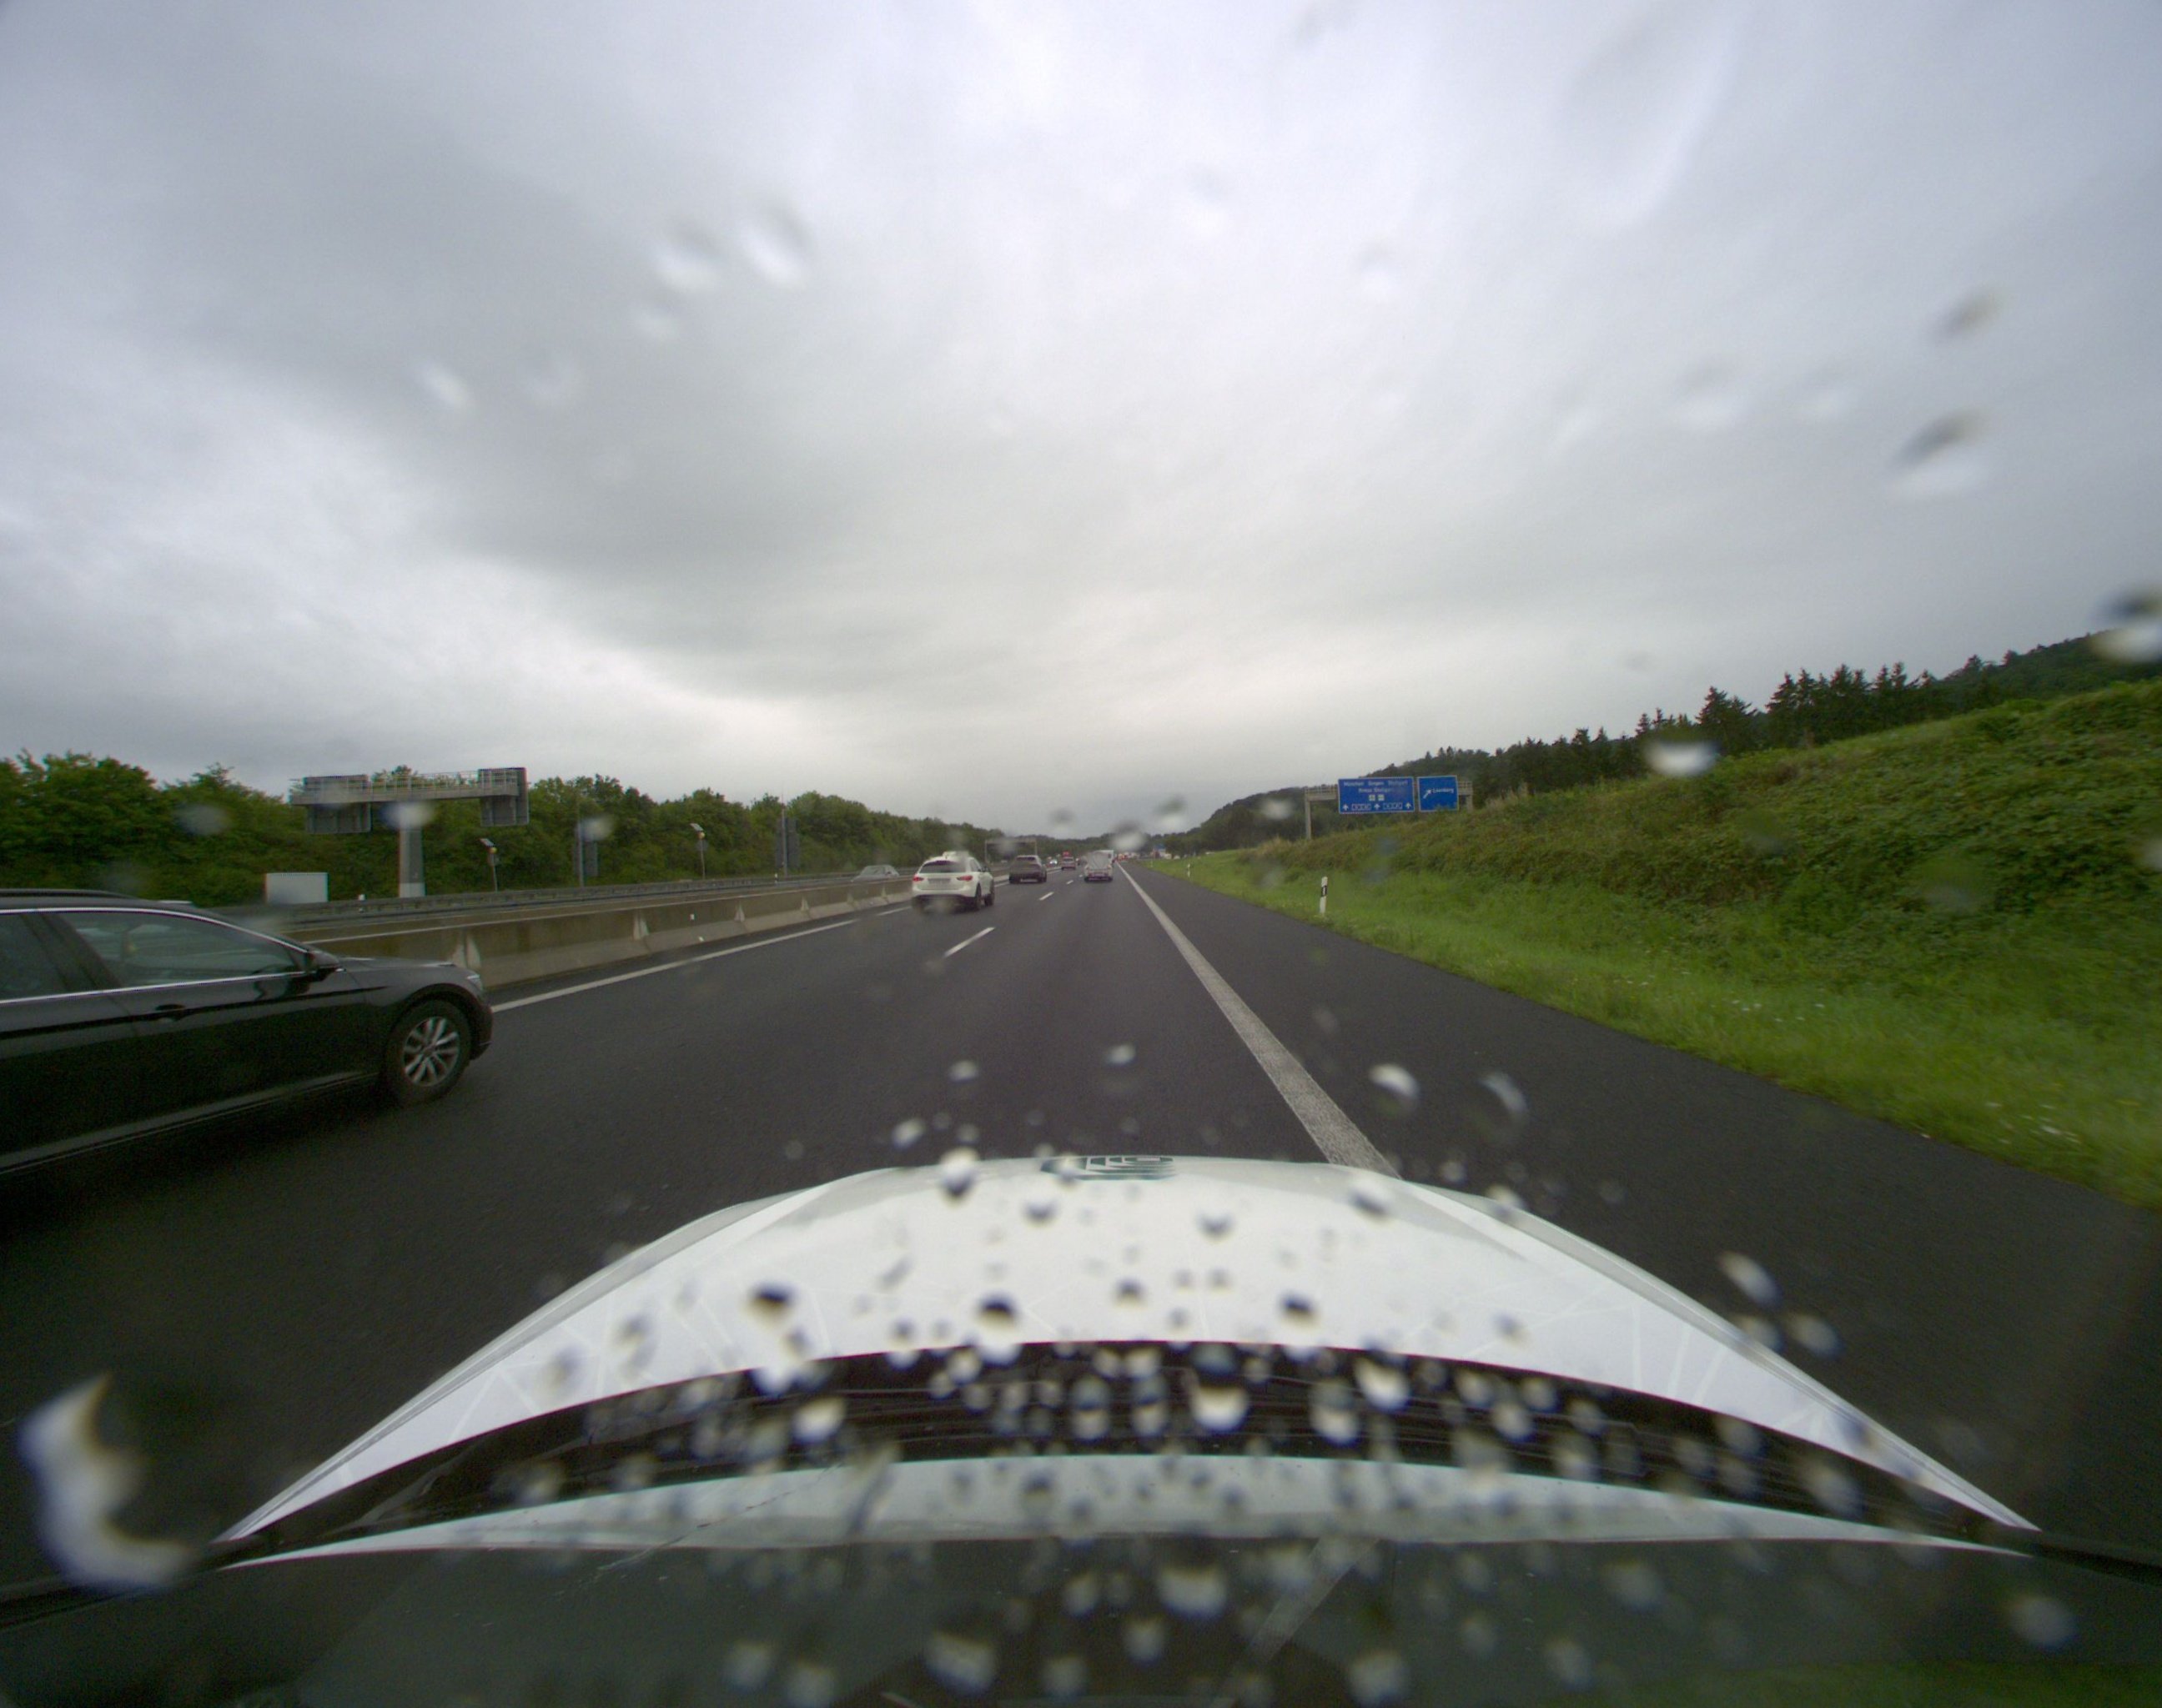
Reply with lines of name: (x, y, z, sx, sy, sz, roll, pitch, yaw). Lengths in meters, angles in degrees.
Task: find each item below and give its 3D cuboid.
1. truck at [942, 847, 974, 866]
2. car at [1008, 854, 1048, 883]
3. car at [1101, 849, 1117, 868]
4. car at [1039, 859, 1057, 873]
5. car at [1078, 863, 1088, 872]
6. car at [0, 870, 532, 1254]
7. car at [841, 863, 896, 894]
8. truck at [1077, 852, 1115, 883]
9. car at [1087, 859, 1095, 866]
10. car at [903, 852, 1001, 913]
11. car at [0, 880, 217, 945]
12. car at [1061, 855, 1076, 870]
truck: (-25.518, 0.527, 170.209, 3.164, 3.808, 17.147, -1, 0, 3)
car: (-3.255, 0.866, 50.855, 1.968, 1.703, 4.804, -1, 0, 2)
car: (4.122, 0.698, 121.228, 2.323, 2.725, 6.541, -1, -1, 1)
car: (-3.983, 1.456, 98.447, 1.812, 1.662, 4.019, -2, 0, 2)
car: (0.340, 2.545, 153.043, 1.639, 1.574, 4.002, 0, -1, 2)
car: (-5.104, 0.849, 3.750, 1.781, 1.459, 4.804, -1, 0, 2)
car: (-11.604, 1.323, 44.712, 1.791, 1.508, 4.002, -2, 0, 2)
truck: (0.962, 0.816, 52.123, 2.234, 1.839, 6.586, -1, 0, 1)
car: (2.435, 1.948, 193.594, 1.639, 1.574, 4.002, 0, -1, 2)
car: (-3.854, 0.811, 25.132, 2.040, 1.670, 4.544, -1, 0, 3)
car: (-31.733, 1.838, 26.645, 1.986, 1.761, 4.507, -2, 0, 2)
car: (-1.592, 1.096, 104.076, 1.732, 1.794, 4.002, -1, 0, 2)
